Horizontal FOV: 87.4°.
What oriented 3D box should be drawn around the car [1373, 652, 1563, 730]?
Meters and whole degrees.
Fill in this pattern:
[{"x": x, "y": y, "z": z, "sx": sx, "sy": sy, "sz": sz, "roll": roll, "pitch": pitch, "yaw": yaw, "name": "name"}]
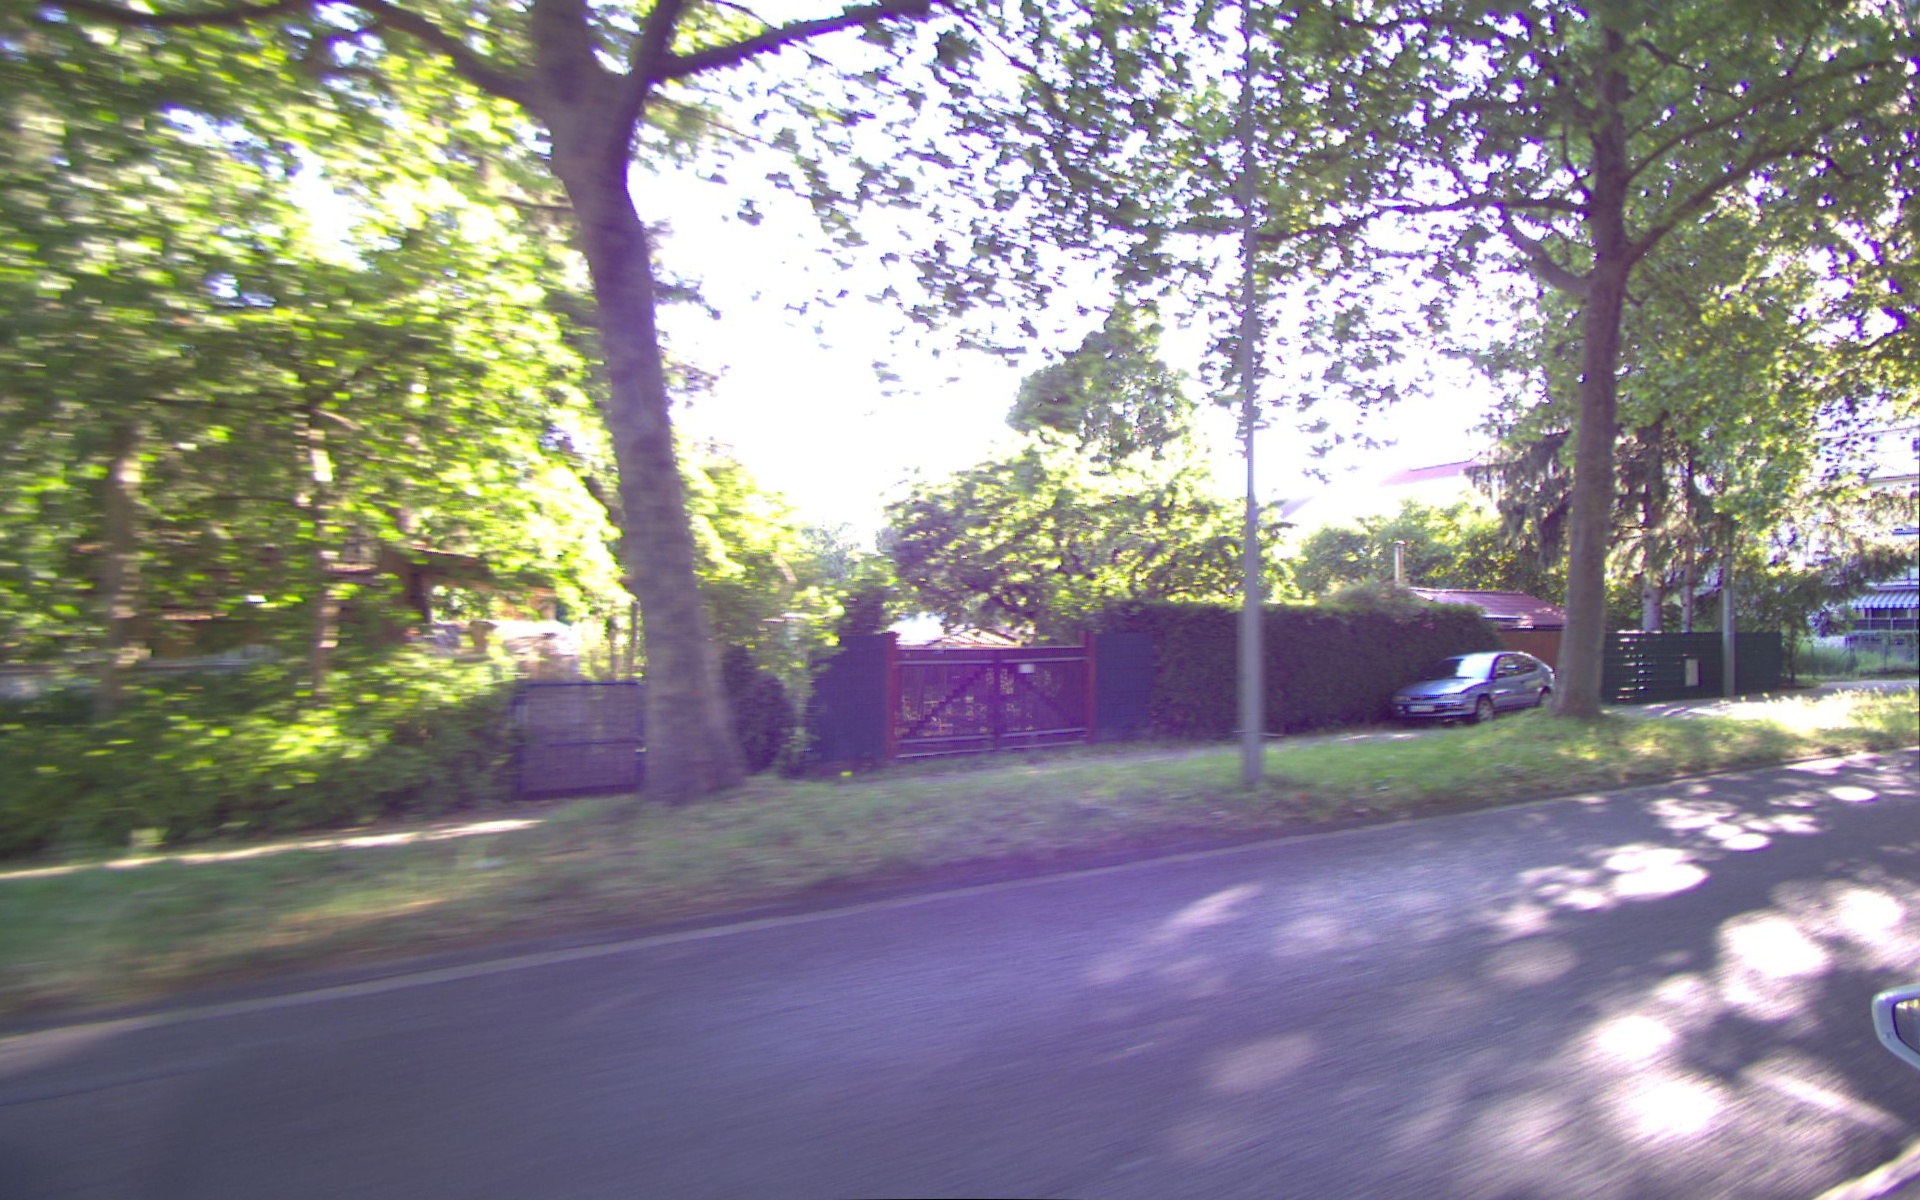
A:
[{"x": 10.442, "y": 1.789, "z": 20.569, "sx": 3.957, "sy": 1.321, "sz": 1.742, "roll": 0, "pitch": -1, "yaw": -33, "name": "car"}]
